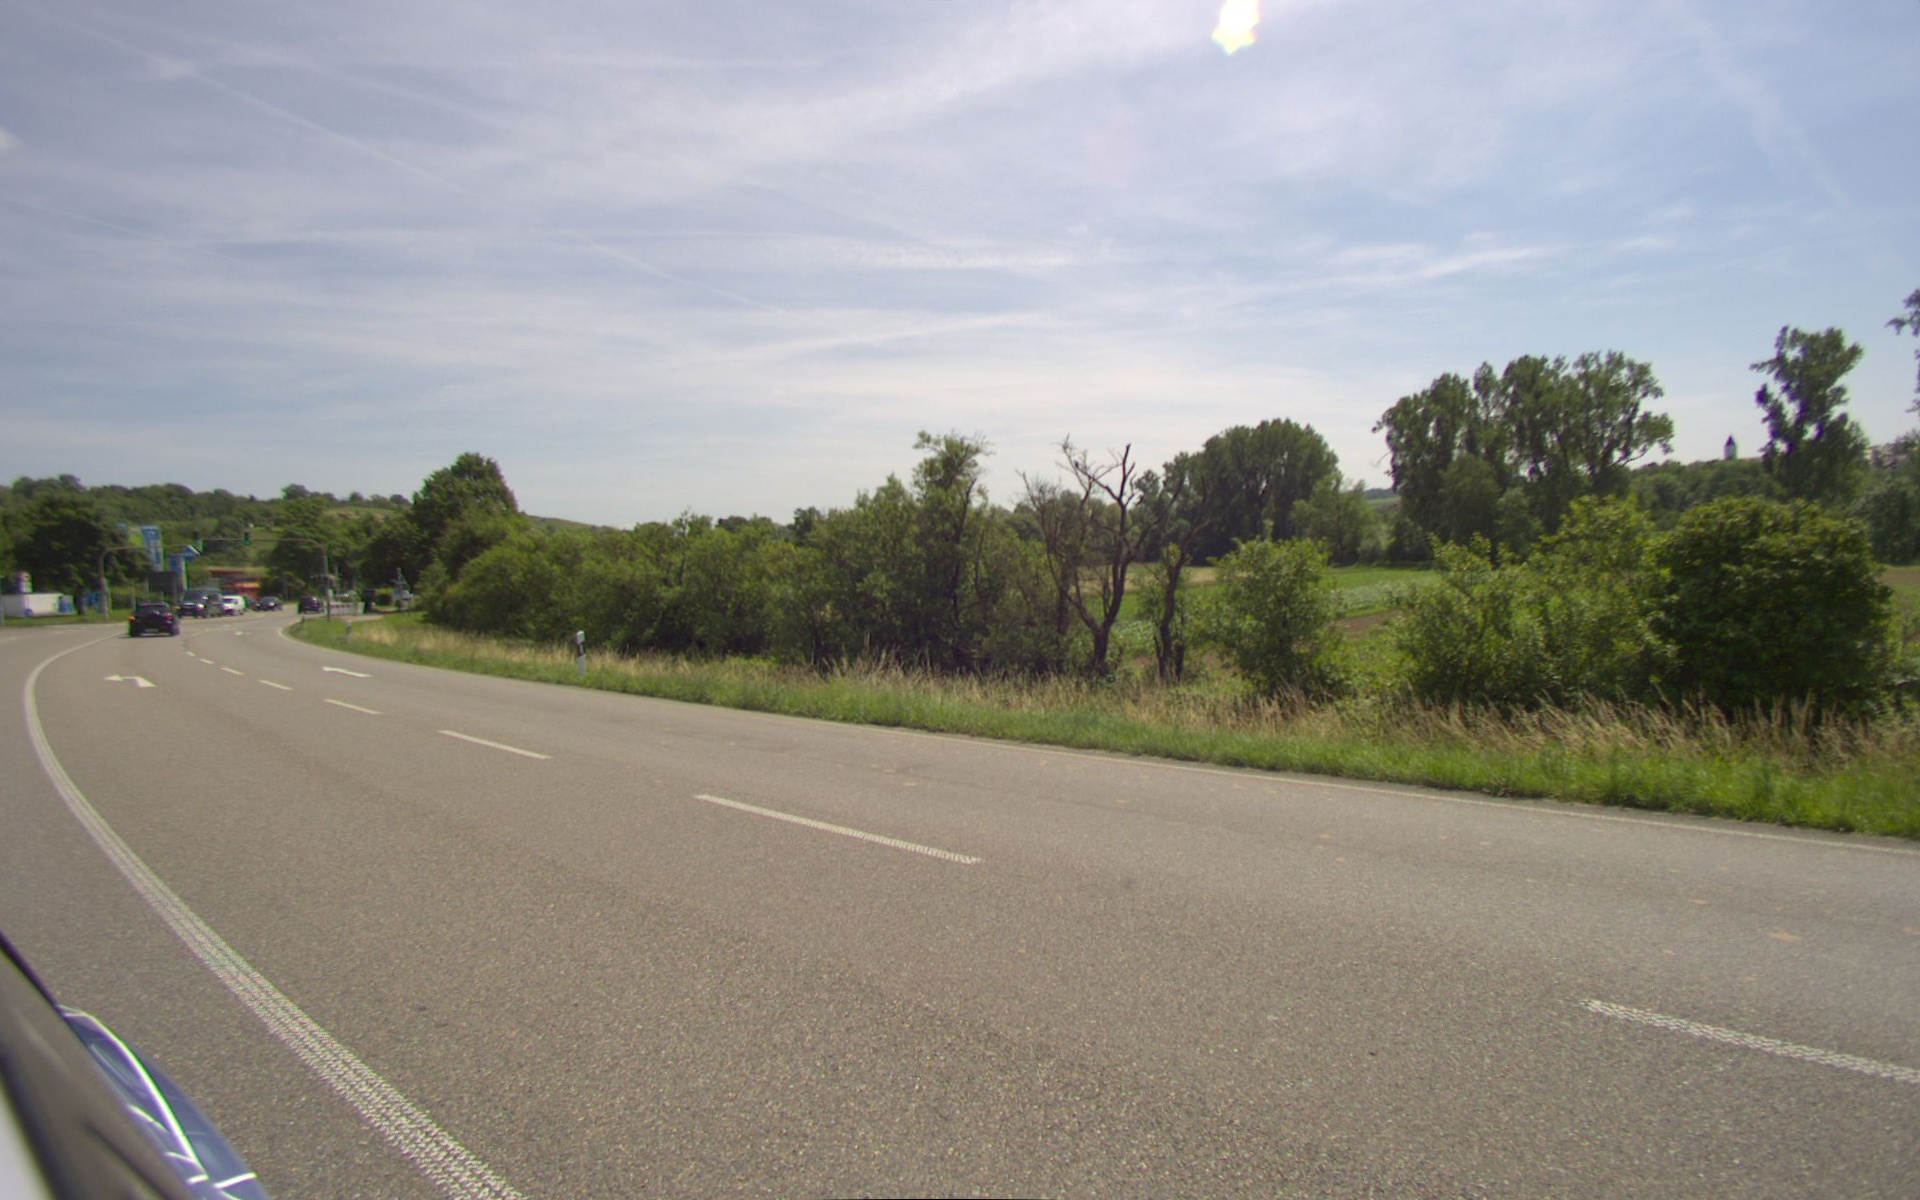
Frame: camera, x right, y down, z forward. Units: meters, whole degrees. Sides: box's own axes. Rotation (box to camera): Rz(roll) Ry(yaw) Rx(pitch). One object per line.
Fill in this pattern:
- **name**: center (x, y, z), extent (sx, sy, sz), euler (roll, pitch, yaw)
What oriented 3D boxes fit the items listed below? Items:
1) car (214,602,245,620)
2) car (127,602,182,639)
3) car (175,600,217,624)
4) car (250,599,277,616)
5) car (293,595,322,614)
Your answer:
- **car**: center (-68.153, 1.009, 94.479), extent (1.754, 1.504, 4.171), euler (-2, 3, -28)
- **car**: center (-40.310, 0.991, 50.725), extent (1.747, 1.671, 4.011), euler (-1, 1, -33)
- **car**: center (-64.663, 1.014, 85.729), extent (1.779, 1.745, 4.014), euler (-2, 3, -21)
- **car**: center (-74.338, 0.756, 108.037), extent (1.779, 1.745, 4.013), euler (-2, 1, -27)
- **car**: center (-63.035, 0.439, 97.823), extent (1.965, 1.708, 4.013), euler (0, 1, -26)
